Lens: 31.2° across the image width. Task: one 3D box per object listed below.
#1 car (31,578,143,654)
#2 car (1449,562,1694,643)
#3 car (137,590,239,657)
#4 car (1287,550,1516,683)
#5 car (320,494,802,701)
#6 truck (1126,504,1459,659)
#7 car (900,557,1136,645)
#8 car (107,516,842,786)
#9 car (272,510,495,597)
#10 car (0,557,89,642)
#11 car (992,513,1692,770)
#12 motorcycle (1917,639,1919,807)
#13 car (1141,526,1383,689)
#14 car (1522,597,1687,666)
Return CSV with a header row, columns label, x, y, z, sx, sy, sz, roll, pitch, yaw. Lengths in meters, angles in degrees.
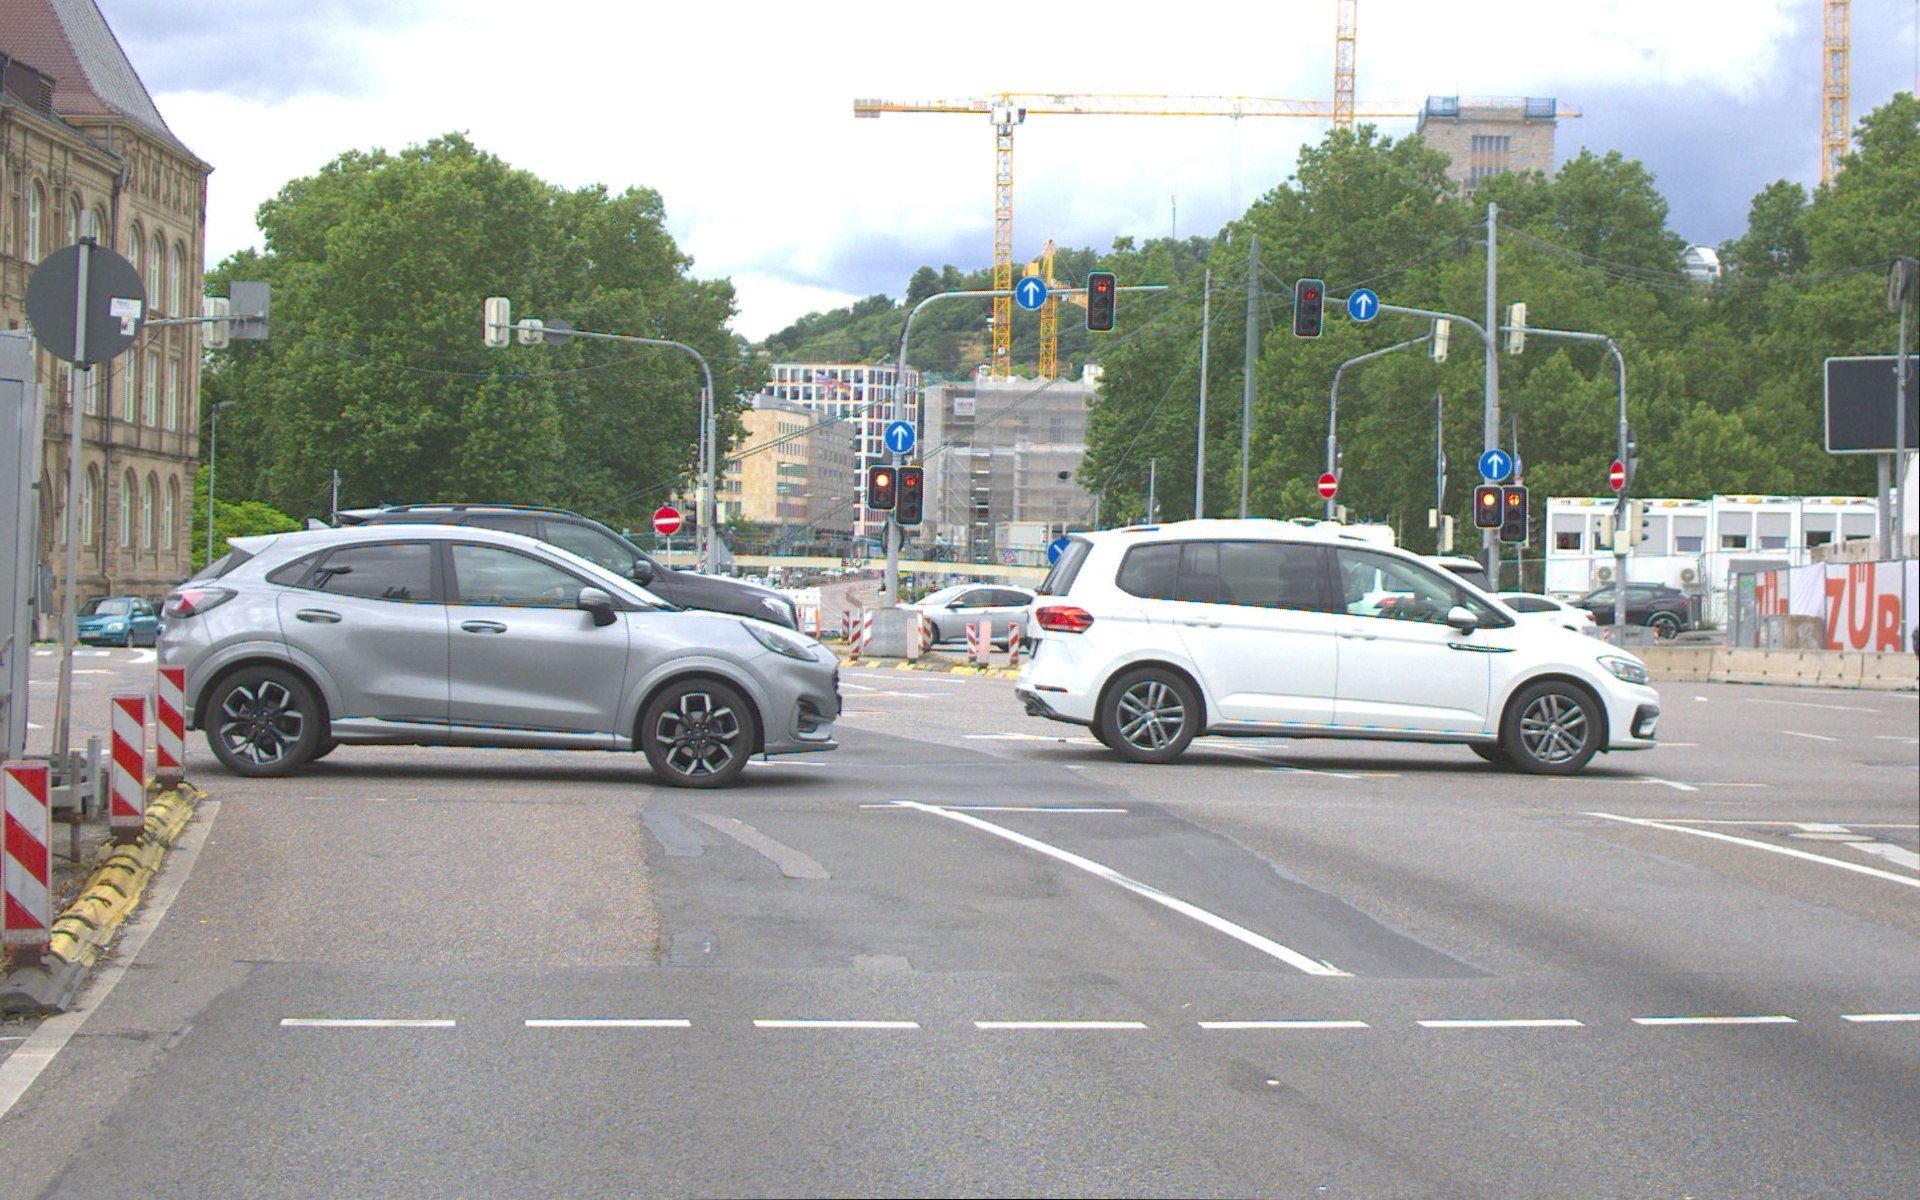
label,x,y,z,sx,sy,sz,roll,pitch,yaw
car,-21.999,0.386,86.784,1.993,1.831,4.001,1,1,-3
car,14.016,0.062,78.771,5.168,1.779,2.165,1,1,-23
car,-22.121,0.658,98.648,1.993,1.831,4.000,1,1,1
car,6.101,0.197,48.063,1.993,1.753,4.506,1,1,-9
car,-3.764,-0.023,32.111,4.242,1.828,2.001,1,1,-13
truck,6.976,-0.372,72.021,6.580,3.135,2.368,1,1,-23
car,1.227,0.019,72.870,4.564,1.769,2.001,1,1,-25
car,-2.895,0.292,21.264,4.294,1.534,2.000,1,1,-2
car,-11.848,-0.951,70.633,4.146,1.718,1.909,1,1,-23
car,-21.054,-0.034,77.529,1.993,1.831,4.001,1,1,-3
car,2.624,0.275,24.449,4.670,1.696,2.000,1,0,-2
motorcycle,7.122,0.745,21.325,2.167,1.151,0.652,1,0,0
car,3.707,0.068,41.409,1.865,1.827,4.718,1,1,18
car,16.531,0.795,88.330,3.988,1.656,2.000,1,1,6
